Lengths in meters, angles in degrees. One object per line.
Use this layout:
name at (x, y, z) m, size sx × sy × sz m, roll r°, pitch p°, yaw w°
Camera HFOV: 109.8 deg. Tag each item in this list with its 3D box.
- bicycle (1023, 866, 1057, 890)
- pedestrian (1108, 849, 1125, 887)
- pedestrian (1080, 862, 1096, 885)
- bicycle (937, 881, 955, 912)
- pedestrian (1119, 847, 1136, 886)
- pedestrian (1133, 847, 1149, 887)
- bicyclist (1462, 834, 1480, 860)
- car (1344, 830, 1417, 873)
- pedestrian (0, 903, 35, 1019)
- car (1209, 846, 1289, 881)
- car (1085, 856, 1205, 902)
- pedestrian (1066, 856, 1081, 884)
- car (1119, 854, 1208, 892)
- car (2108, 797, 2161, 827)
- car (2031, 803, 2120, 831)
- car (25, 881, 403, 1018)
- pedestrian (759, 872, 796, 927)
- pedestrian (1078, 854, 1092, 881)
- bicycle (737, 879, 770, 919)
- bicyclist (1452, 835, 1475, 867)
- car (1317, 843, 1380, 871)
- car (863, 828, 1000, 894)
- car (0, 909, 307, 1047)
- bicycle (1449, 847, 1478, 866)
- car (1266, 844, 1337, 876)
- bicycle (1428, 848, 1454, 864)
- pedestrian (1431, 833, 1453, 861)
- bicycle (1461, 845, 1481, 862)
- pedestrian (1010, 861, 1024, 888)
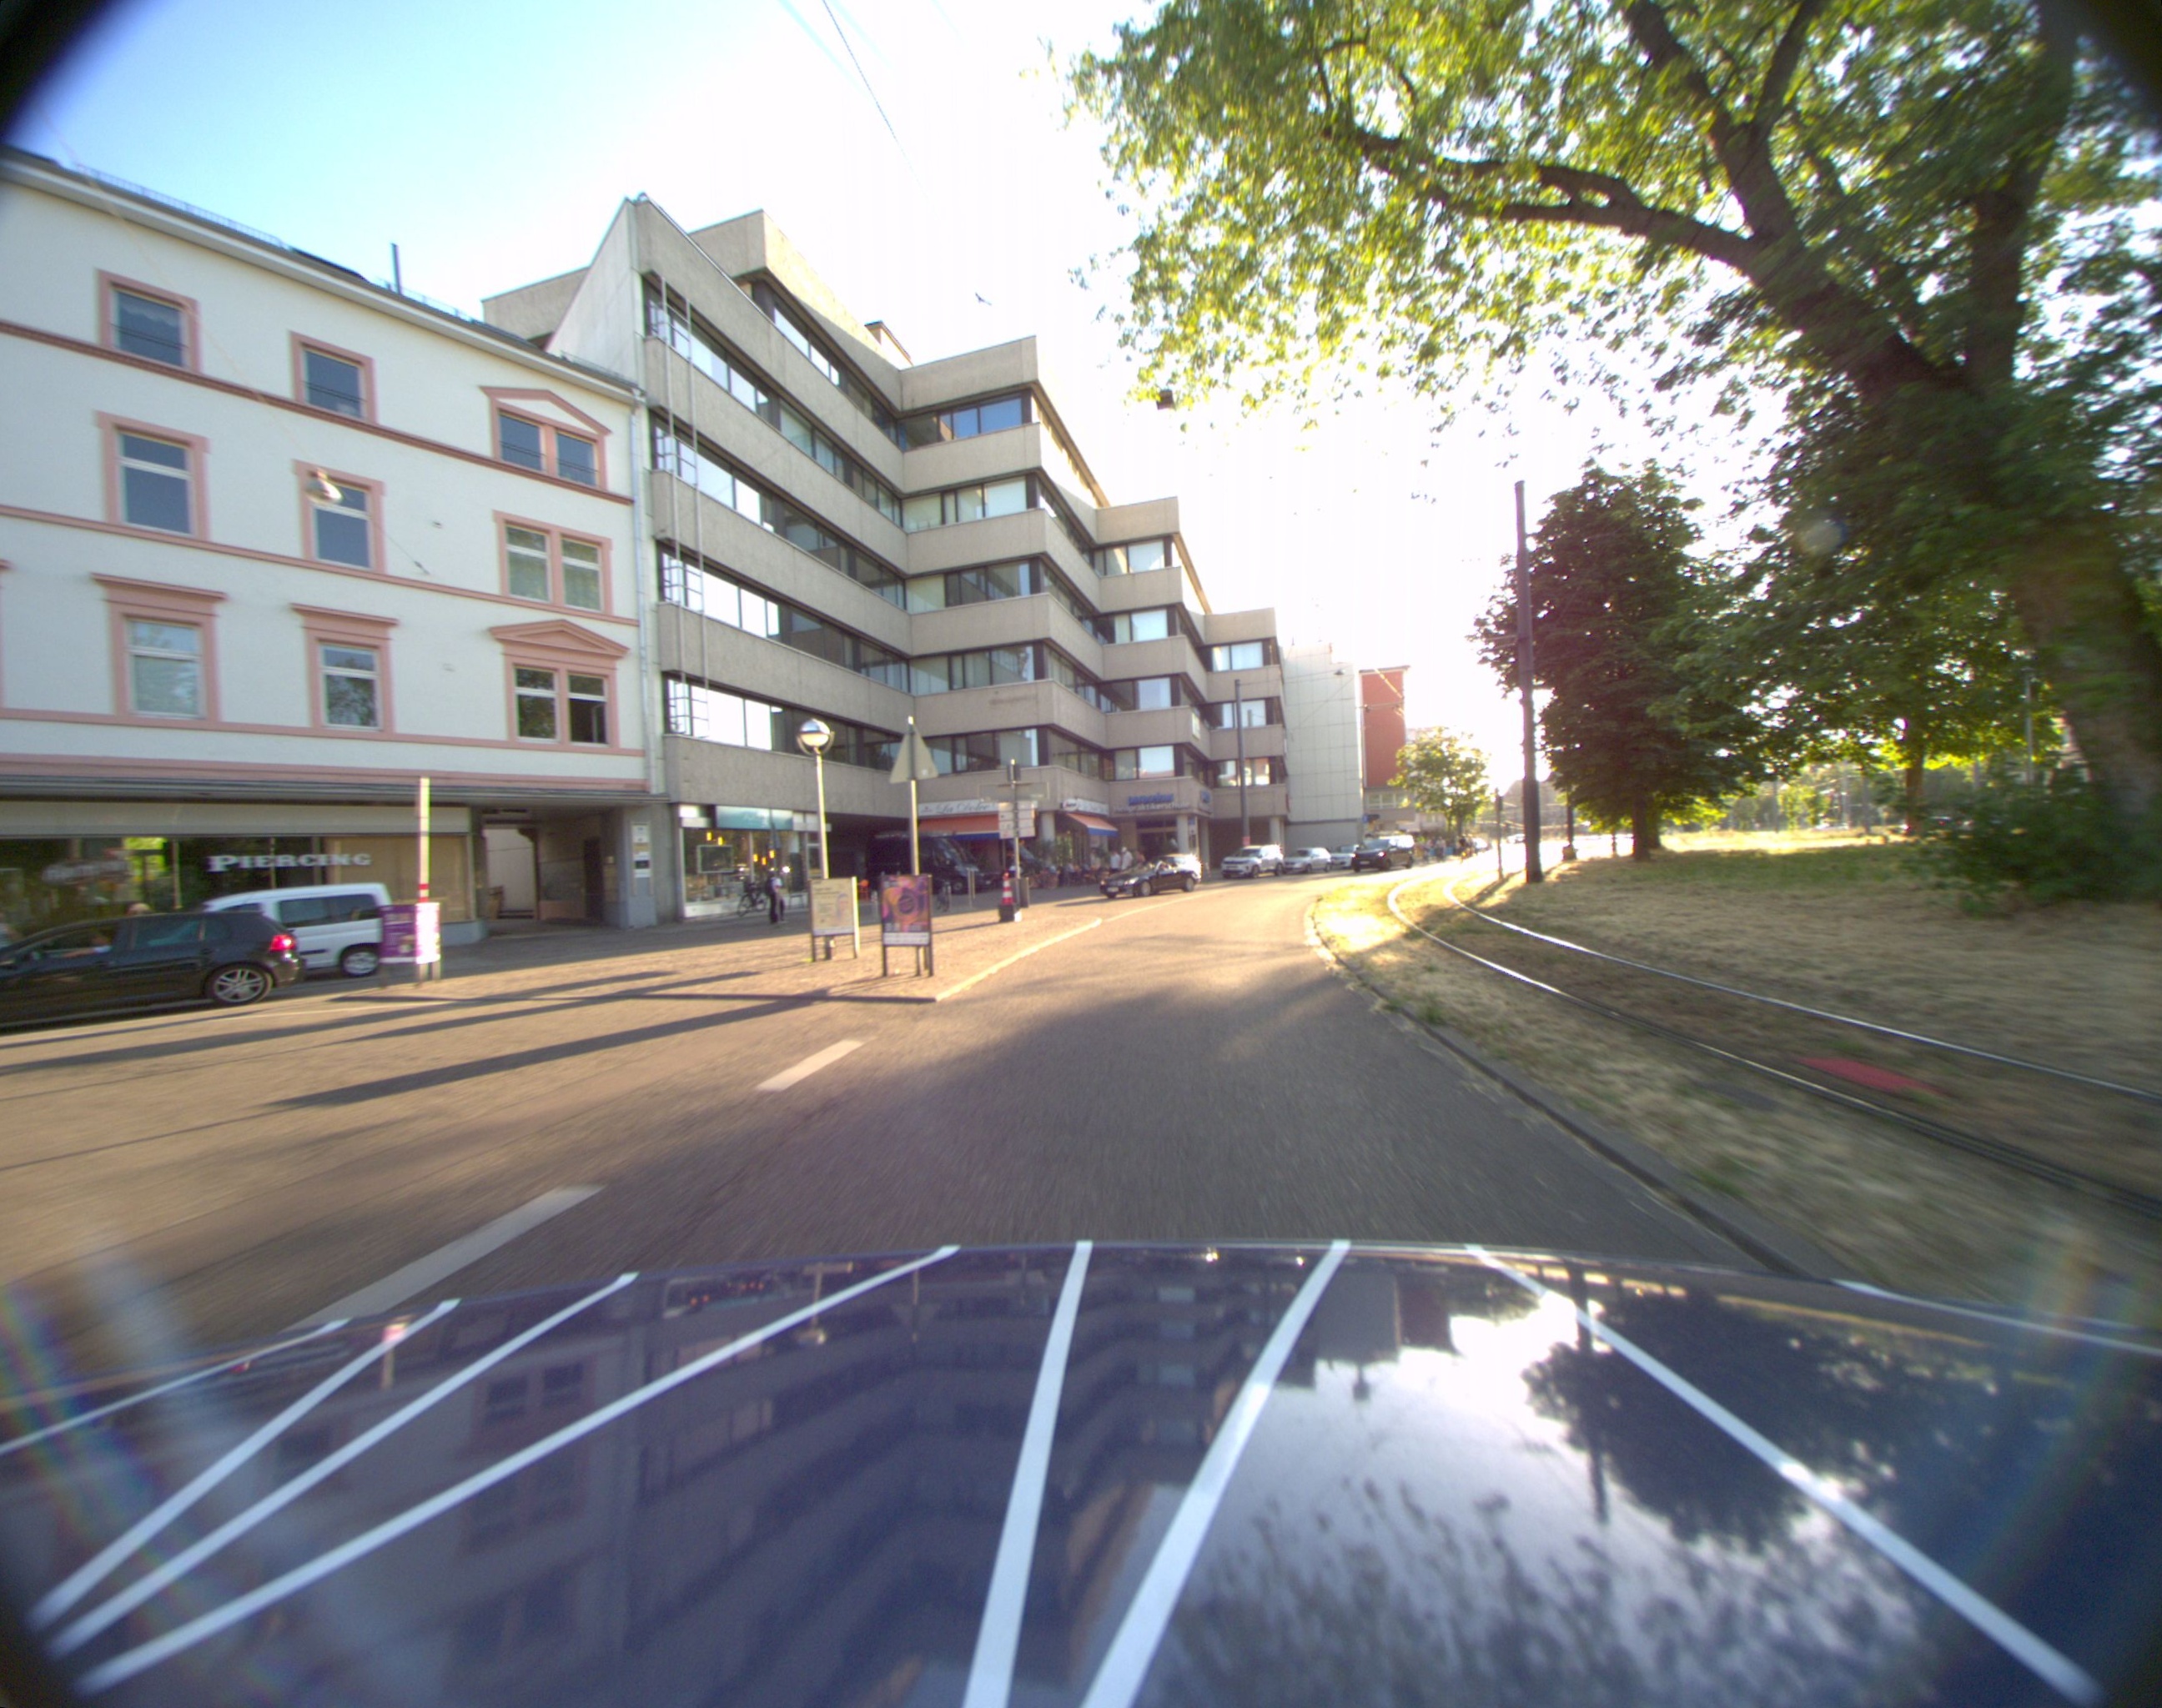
bicycle at (-1.824, 1.064, 33.889) m, size 1.446 × 0.987 × 0.531 m, roll -1°, pitch 2°, yaw -8°
pedestrian at (1.710, 0.661, 36.583) m, size 0.619 × 1.828 × 0.537 m, roll 3°, pitch 2°, yaw 30°
pedestrian at (0.346, 0.937, 36.324) m, size 0.611 × 1.081 × 0.560 m, roll -2°, pitch 1°, yaw 10°
bicycle at (-4.503, 1.414, 25.376) m, size 0.303 × 0.987 × 1.292 m, roll -4°, pitch 0°, yaw -20°
pedestrian at (2.227, 0.607, 36.262) m, size 0.572 × 1.828 × 0.605 m, roll 3°, pitch 2°, yaw 31°
pedestrian at (2.799, 0.604, 35.549) m, size 0.532 × 1.828 × 0.501 m, roll 3°, pitch 2°, yaw 31°
bicyclist at (27.660, -0.519, 53.863) m, size 0.859 × 1.773 × 0.988 m, roll -2°, pitch 1°, yaw 39°
car at (16.732, -0.150, 42.335) m, size 4.531 × 2.143 × 1.995 m, roll -4°, pitch 1°, yaw -45°
pedestrian at (-17.164, 1.690, 11.890) m, size 0.637 × 1.789 × 0.796 m, roll -3°, pitch 1°, yaw 42°
car at (9.035, 0.485, 40.650) m, size 4.531 × 1.596 × 1.995 m, roll -4°, pitch 0°, yaw -45°
car at (2.506, 0.923, 28.813) m, size 4.531 × 1.386 × 1.995 m, roll -4°, pitch 0°, yaw -45°
pedestrian at (-0.367, 0.791, 36.950) m, size 0.611 × 1.313 × 0.560 m, roll -2°, pitch 1°, yaw 10°
car at (3.771, 0.842, 34.269) m, size 1.790 × 1.433 × 4.007 m, roll -3°, pitch 0°, yaw 44°
car at (77.595, -3.070, 54.644) m, size 1.996 × 2.002 × 4.553 m, roll -3°, pitch 0°, yaw 16°
car at (79.797, -2.913, 61.068) m, size 1.996 × 2.002 × 4.553 m, roll -3°, pitch 0°, yaw 16°
car at (-15.353, 1.542, 13.823) m, size 1.927 × 1.774 × 4.237 m, roll -1°, pitch 2°, yaw 42°
pedestrian at (-8.925, 1.333, 22.352) m, size 0.794 × 1.528 × 0.568 m, roll -4°, pitch 3°, yaw -44°
pedestrian at (0.202, 0.698, 39.098) m, size 0.611 × 1.313 × 0.592 m, roll -2°, pitch 1°, yaw 10°
bicycle at (-10.605, 1.426, 24.612) m, size 0.487 × 1.185 × 1.426 m, roll -4°, pitch 0°, yaw -5°
bicyclist at (24.014, -0.198, 47.716) m, size 1.115 × 1.962 × 0.922 m, roll -4°, pitch 1°, yaw -45°
car at (17.491, 0.177, 49.592) m, size 4.531 × 1.596 × 1.995 m, roll -4°, pitch 0°, yaw -45°
car at (-6.517, 0.309, 33.334) m, size 5.424 × 2.711 × 2.184 m, roll -1°, pitch 1°, yaw 16°
car at (-14.020, 1.718, 10.758) m, size 1.932 × 1.477 × 4.170 m, roll -3°, pitch 0°, yaw 43°
bicycle at (24.076, 0.170, 47.769) m, size 2.225 × 1.070 × 0.933 m, roll -4°, pitch 1°, yaw -45°
car at (12.981, 0.328, 44.574) m, size 4.531 × 1.596 × 1.995 m, roll -4°, pitch 0°, yaw -45°
bicycle at (26.027, 0.129, 54.867) m, size 2.225 × 1.070 × 0.954 m, roll -4°, pitch 1°, yaw -45°
pedestrian at (26.103, -0.491, 54.964) m, size 1.275 × 1.961 × 0.933 m, roll -4°, pitch 1°, yaw -45°
bicycle at (27.632, -0.048, 53.809) m, size 0.872 × 1.090 × 1.853 m, roll -3°, pitch 1°, yaw 38°
pedestrian at (-2.900, 0.920, 34.424) m, size 0.460 × 1.188 × 0.421 m, roll 2°, pitch 2°, yaw 19°
